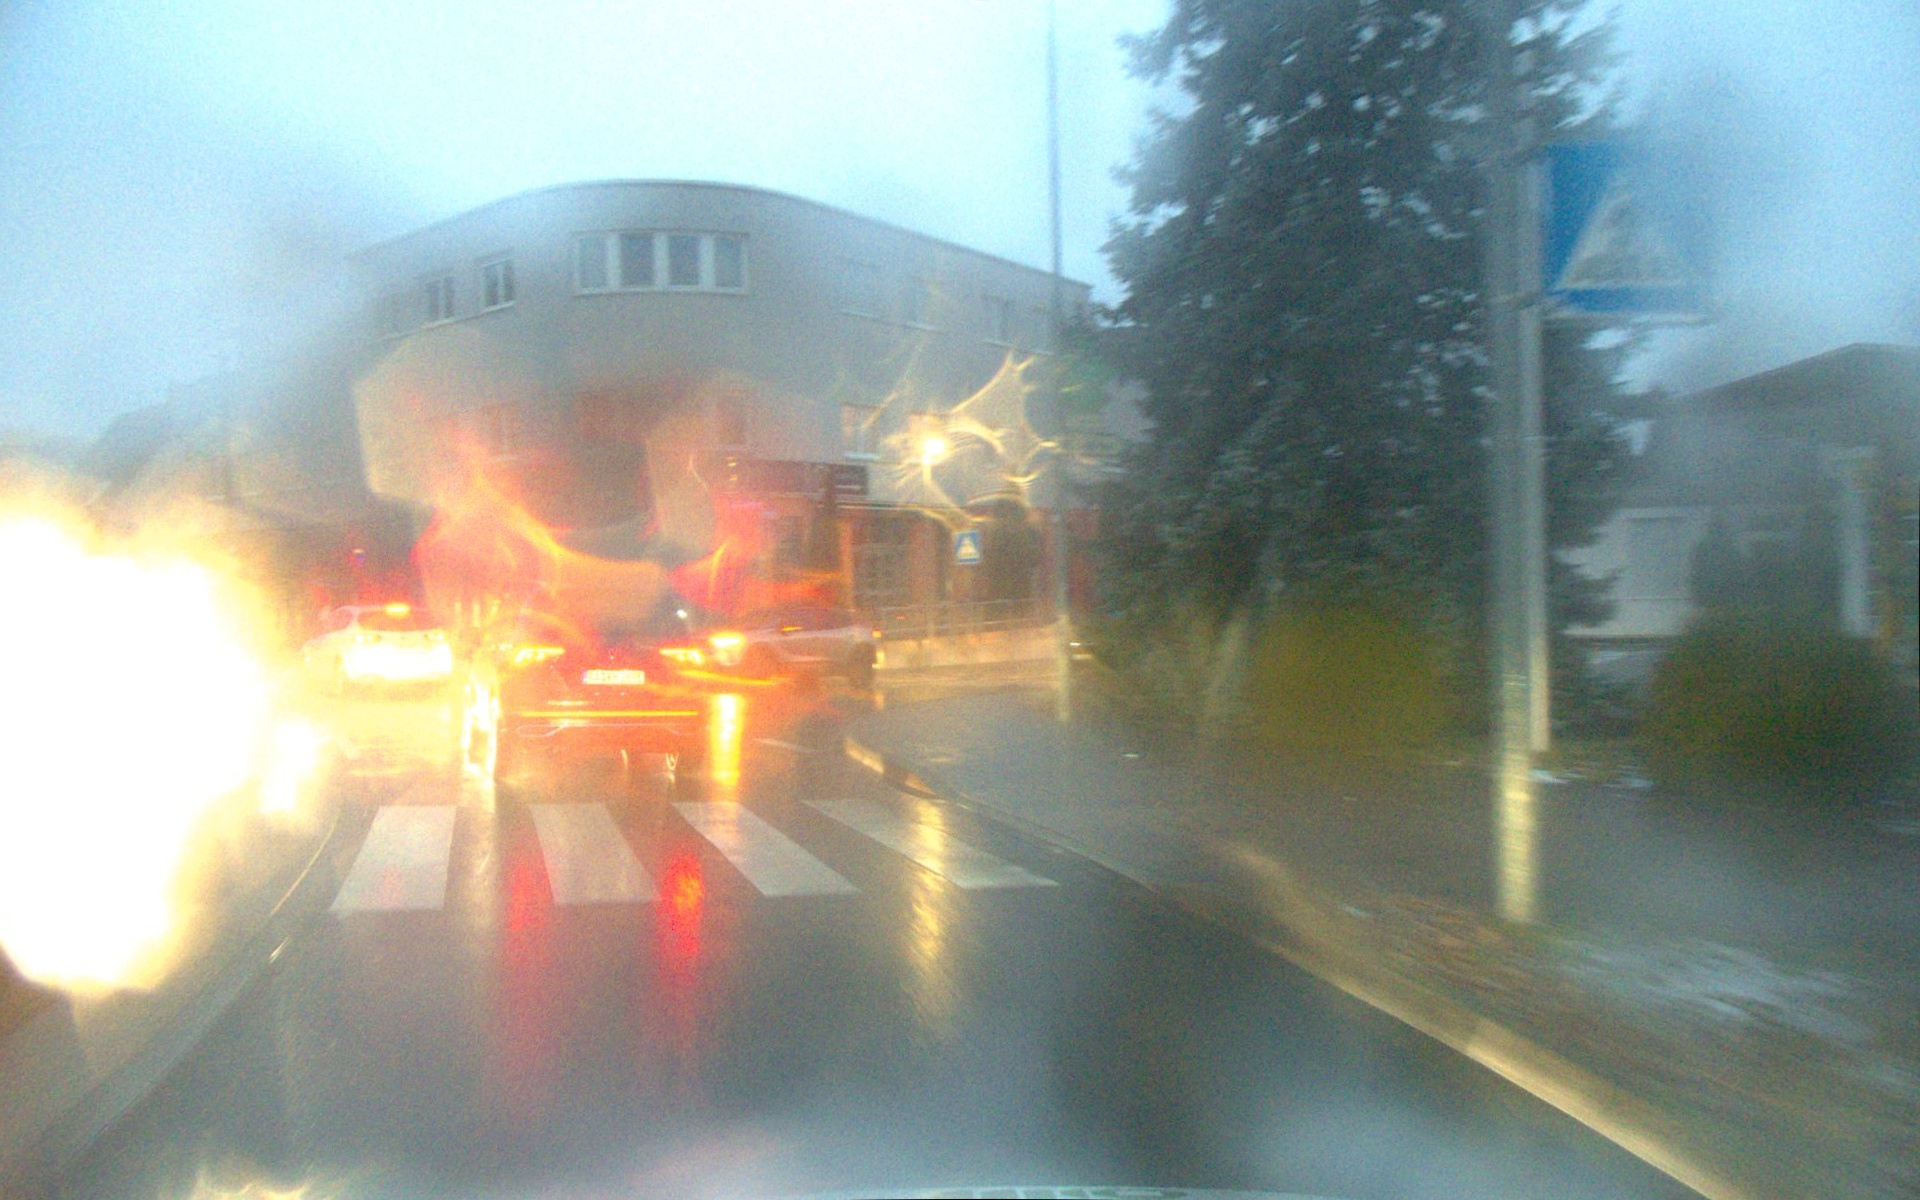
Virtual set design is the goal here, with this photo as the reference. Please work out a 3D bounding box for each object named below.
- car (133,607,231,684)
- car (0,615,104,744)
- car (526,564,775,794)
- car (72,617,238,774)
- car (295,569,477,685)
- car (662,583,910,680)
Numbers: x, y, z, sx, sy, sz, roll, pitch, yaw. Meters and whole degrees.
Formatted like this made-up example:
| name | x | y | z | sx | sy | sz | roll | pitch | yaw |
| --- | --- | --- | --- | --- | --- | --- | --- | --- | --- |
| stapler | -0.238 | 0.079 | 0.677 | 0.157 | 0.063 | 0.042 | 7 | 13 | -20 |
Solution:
| name | x | y | z | sx | sy | sz | roll | pitch | yaw |
| --- | --- | --- | --- | --- | --- | --- | --- | --- | --- |
| car | -20.108 | 1.109 | 42.657 | 2.040 | 1.747 | 4.529 | -2 | 2 | -28 |
| car | -17.397 | 1.411 | 30.878 | 2.135 | 2.096 | 4.538 | -2 | 1 | -23 |
| car | -2.895 | 0.590 | 15.133 | 1.911 | 1.748 | 3.987 | -2 | 1 | -13 |
| car | -12.761 | 1.408 | 26.401 | 2.136 | 2.096 | 4.536 | -2 | 1 | -25 |
| car | -9.765 | 0.381 | 27.904 | 2.140 | 1.719 | 4.527 | -2 | 2 | -29 |
| car | -3.147 | 0.518 | 30.686 | 1.874 | 1.599 | 4.545 | 0 | 1 | 41 |
